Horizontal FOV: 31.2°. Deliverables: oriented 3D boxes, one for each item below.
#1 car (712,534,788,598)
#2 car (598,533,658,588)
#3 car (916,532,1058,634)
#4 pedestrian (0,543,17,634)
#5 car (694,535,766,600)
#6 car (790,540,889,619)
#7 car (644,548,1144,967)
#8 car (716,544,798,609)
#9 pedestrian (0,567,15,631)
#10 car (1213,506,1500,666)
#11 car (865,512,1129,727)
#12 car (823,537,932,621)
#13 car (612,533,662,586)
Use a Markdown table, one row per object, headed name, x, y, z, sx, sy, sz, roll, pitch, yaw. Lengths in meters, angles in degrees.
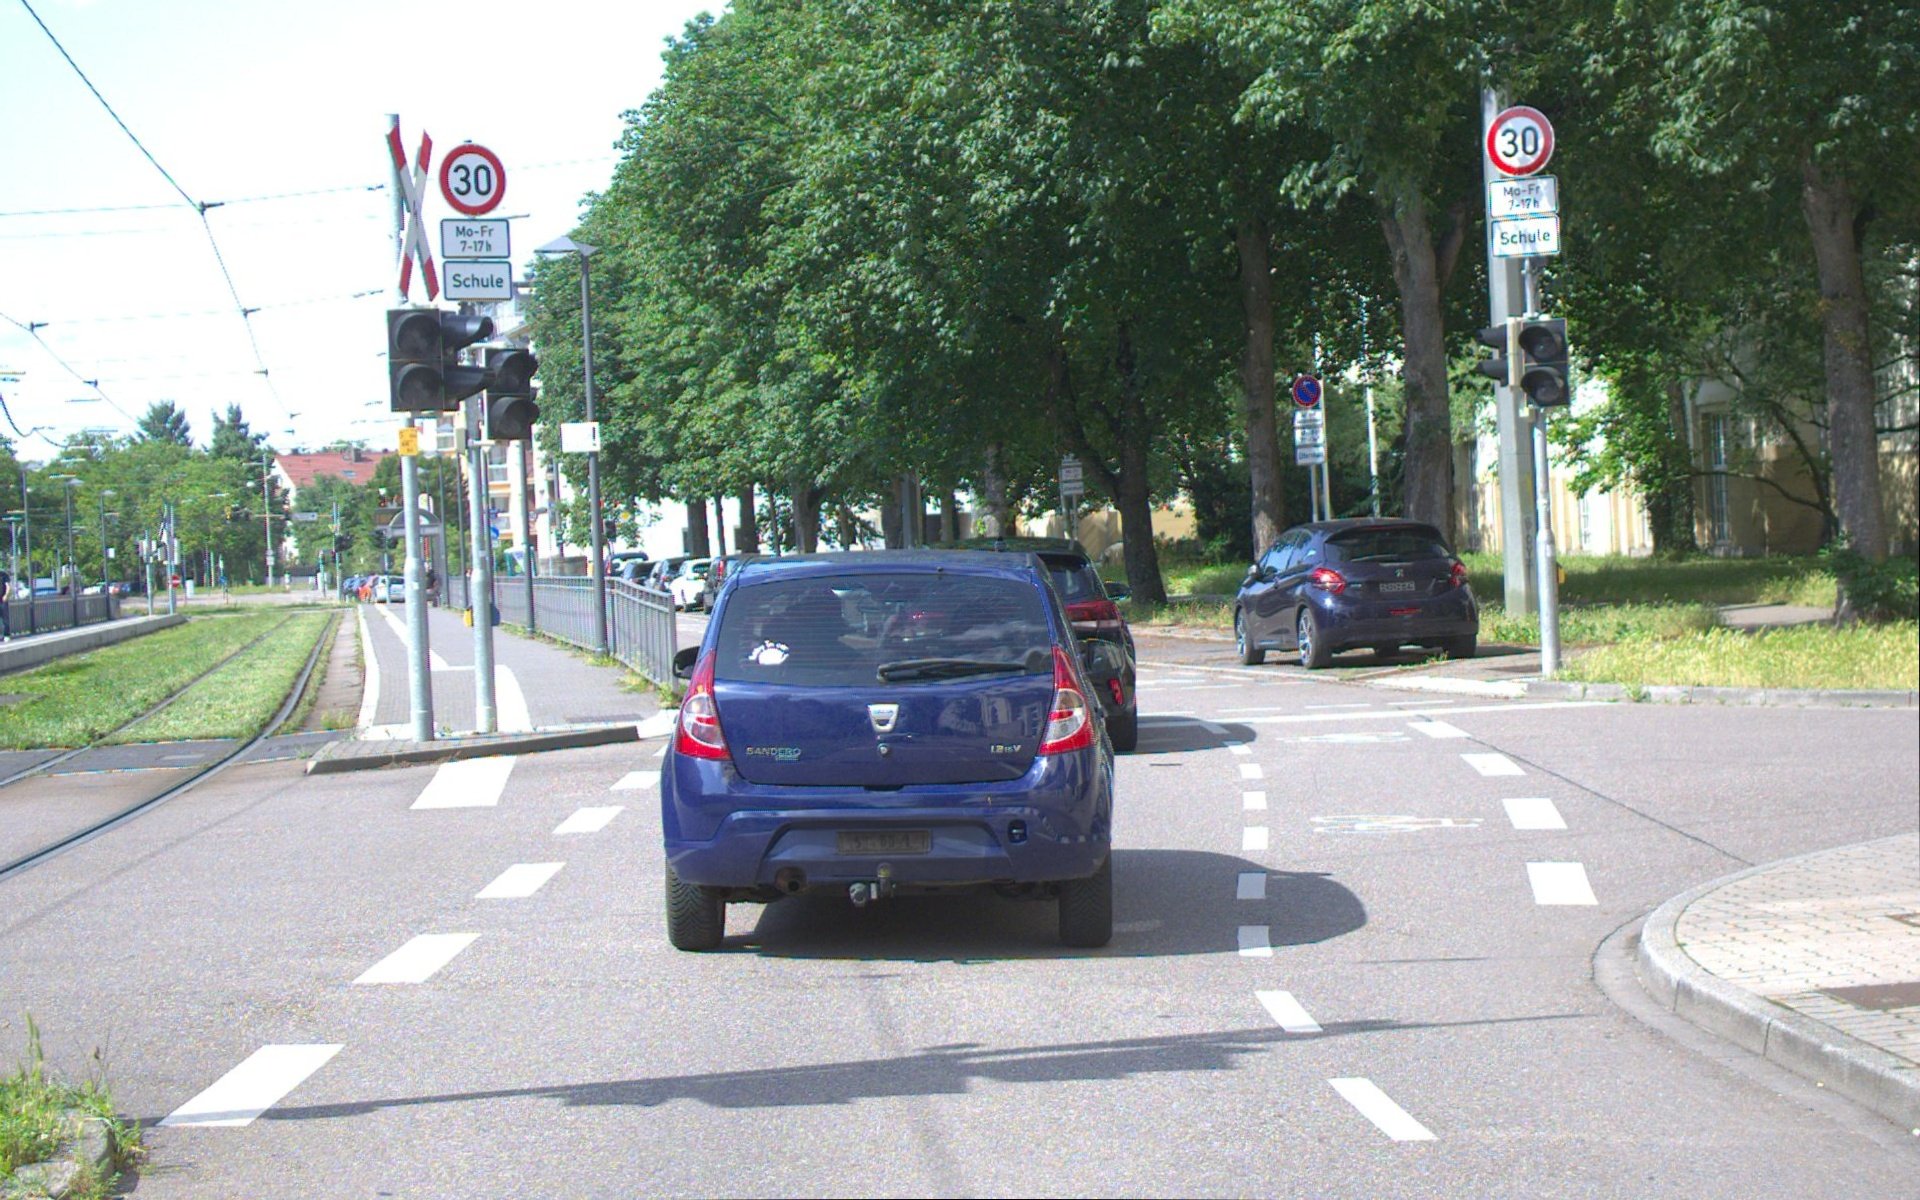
| name | x | y | z | sx | sy | sz | roll | pitch | yaw |
| --- | --- | --- | --- | --- | --- | --- | --- | --- | --- |
| car | -5.495 | -0.906 | 89.642 | 1.827 | 1.532 | 4.001 | -4 | 1 | -4 |
| car | -11.255 | -1.343 | 116.587 | 1.830 | 1.755 | 4.001 | -3 | 1 | -4 |
| car | 0.395 | -0.300 | 55.140 | 1.861 | 1.440 | 4.001 | -4 | 1 | -4 |
| pedestrian | -21.359 | -0.244 | 76.410 | 0.660 | 2.007 | 0.804 | -3 | 1 | -14 |
| car | -6.580 | -0.934 | 98.021 | 1.617 | 1.744 | 4.001 | -3 | 1 | -9 |
| car | -2.547 | -0.454 | 71.768 | 1.851 | 1.510 | 4.001 | -3 | 1 | -4 |
| car | -0.254 | 0.537 | 14.245 | 1.768 | 1.457 | 3.776 | -1 | 1 | -1 |
| car | -5.000 | -0.582 | 84.191 | 1.861 | 1.440 | 4.001 | -4 | 1 | -4 |
| pedestrian | -22.204 | -0.002 | 78.489 | 1.028 | 1.433 | 0.703 | -5 | 2 | -24 |
| car | 3.958 | -0.157 | 34.954 | 1.765 | 1.428 | 3.905 | -4 | 1 | -10 |
| car | 0.223 | 0.082 | 24.211 | 1.700 | 1.363 | 3.515 | -1 | 2 | -1 |
| car | -1.644 | -0.430 | 67.163 | 1.861 | 1.440 | 4.001 | -4 | 1 | -4 |
| car | -11.530 | -1.451 | 122.702 | 1.667 | 1.766 | 4.001 | -3 | 1 | -5 |
